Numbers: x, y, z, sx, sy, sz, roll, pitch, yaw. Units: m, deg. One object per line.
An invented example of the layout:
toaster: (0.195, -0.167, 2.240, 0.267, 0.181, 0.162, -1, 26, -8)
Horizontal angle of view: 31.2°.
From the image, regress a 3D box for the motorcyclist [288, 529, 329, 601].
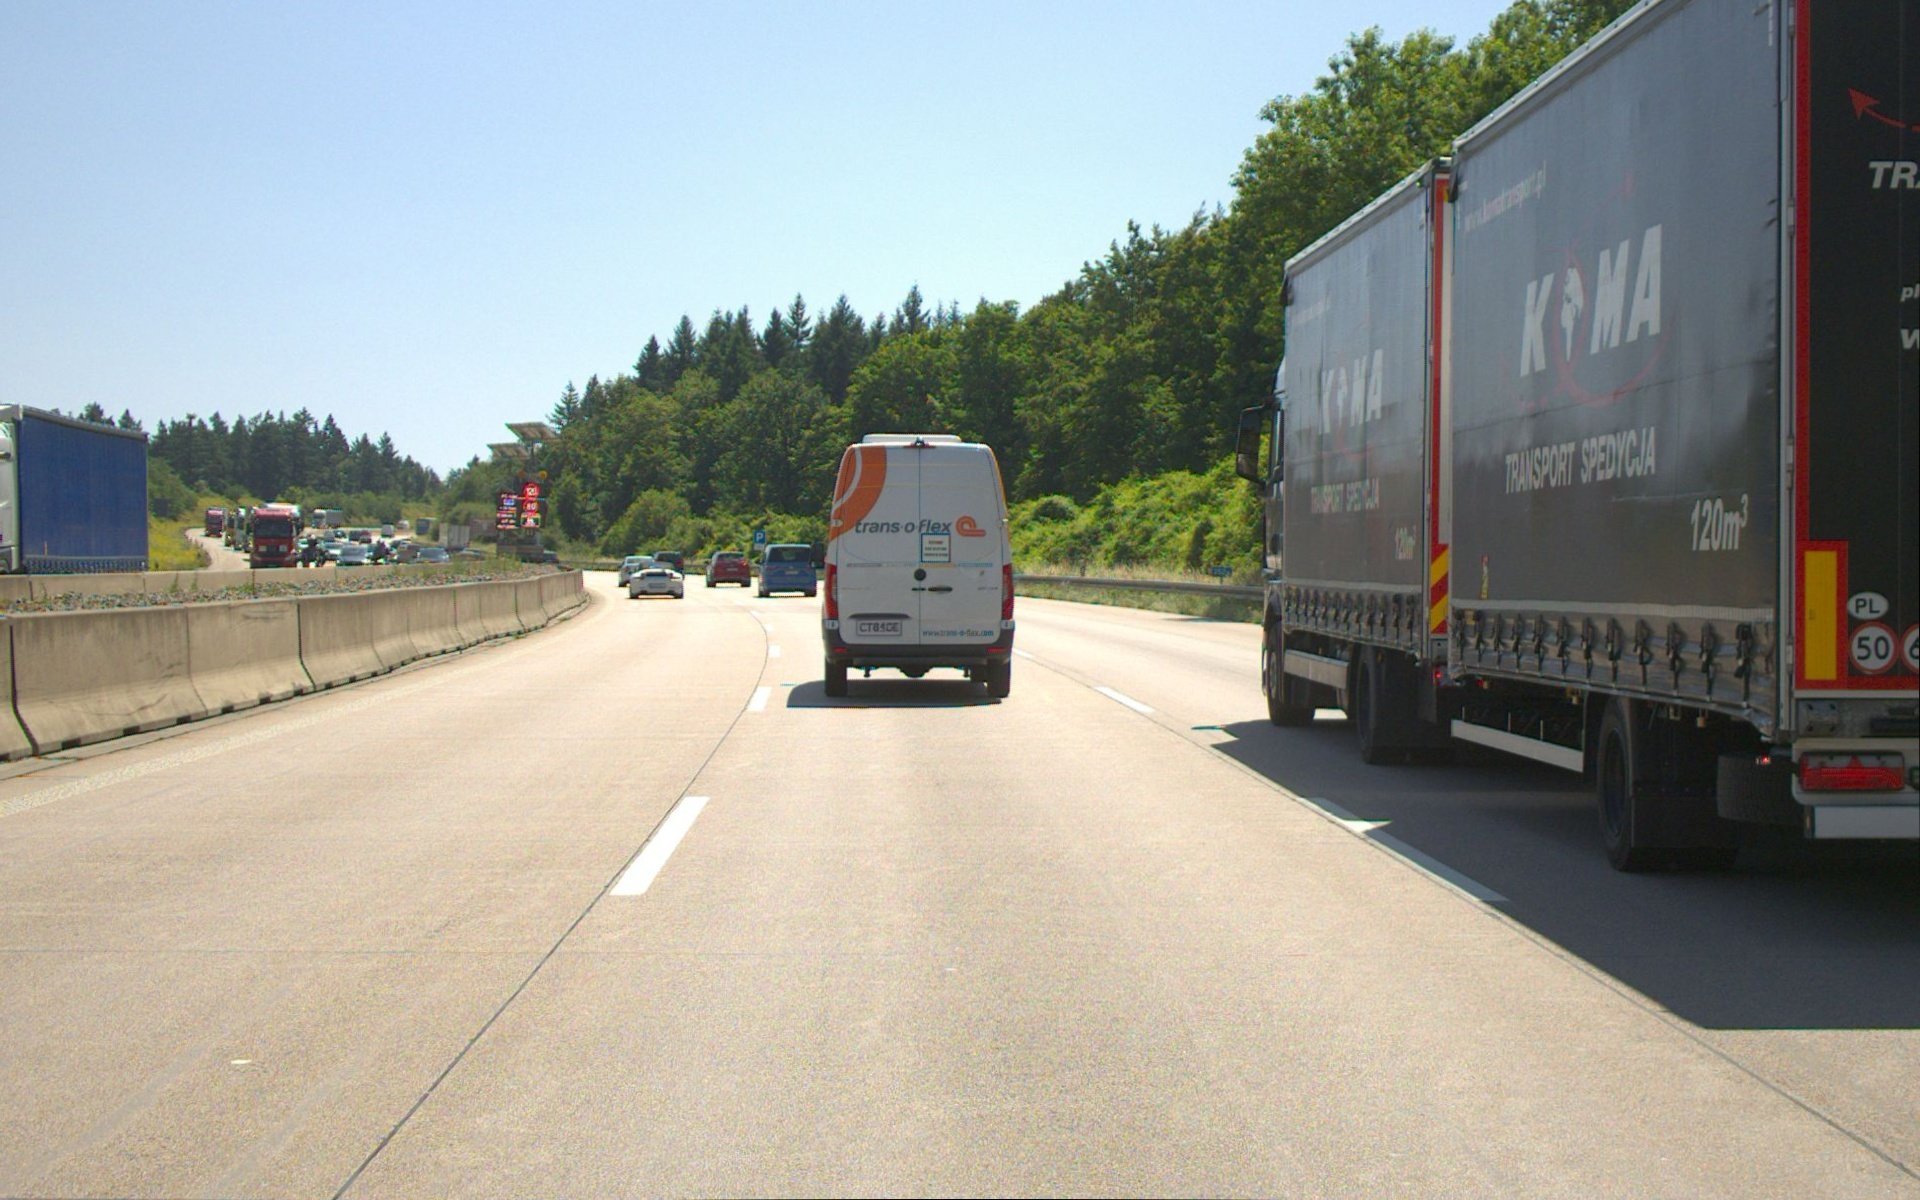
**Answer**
motorcyclist: (-17.078, -0.922, 90.198, 0.818, 1.867, 1.492, 1, 1, -2)

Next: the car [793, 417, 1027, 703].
car: (-0.631, -0.459, 37.191, 2.226, 2.834, 5.455, 1, 1, -4)

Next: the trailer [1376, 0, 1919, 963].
trailer: (4.174, -0.732, 16.925, 3.135, 4.003, 9.088, 1, 1, 0)

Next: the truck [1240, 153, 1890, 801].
truck: (4.214, -0.825, 26.809, 3.159, 4.003, 10.608, 1, 1, 0)

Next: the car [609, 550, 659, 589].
car: (-15.062, -1.411, 158.739, 1.993, 1.678, 4.001, 3, 0, -9)

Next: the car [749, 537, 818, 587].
car: (-6.353, -1.367, 123.201, 1.993, 1.678, 4.001, 3, 0, -9)

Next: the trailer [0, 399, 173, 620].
trailer: (-18.441, -1.705, 68.354, 3.160, 3.919, 13.869, 3, 0, -4)

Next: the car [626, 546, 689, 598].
car: (-10.541, -0.972, 119.572, 1.993, 1.678, 4.001, 3, 0, -7)

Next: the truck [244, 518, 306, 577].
truck: (-39.176, -2.982, 196.697, 2.933, 3.204, 5.906, 3, 0, -7)

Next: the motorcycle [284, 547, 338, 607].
motorcycle: (-17.048, -0.616, 90.365, 1.008, 1.544, 2.484, 1, 1, -2)

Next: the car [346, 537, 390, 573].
car: (-29.806, -2.273, 173.057, 1.993, 1.766, 4.001, 0, 1, -7)

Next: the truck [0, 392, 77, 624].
truck: (-17.931, -1.642, 61.071, 3.160, 3.919, 5.837, 3, 0, -4)

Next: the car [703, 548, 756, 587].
car: (-10.521, -1.475, 156.893, 1.993, 1.678, 4.001, 3, 0, -9)
